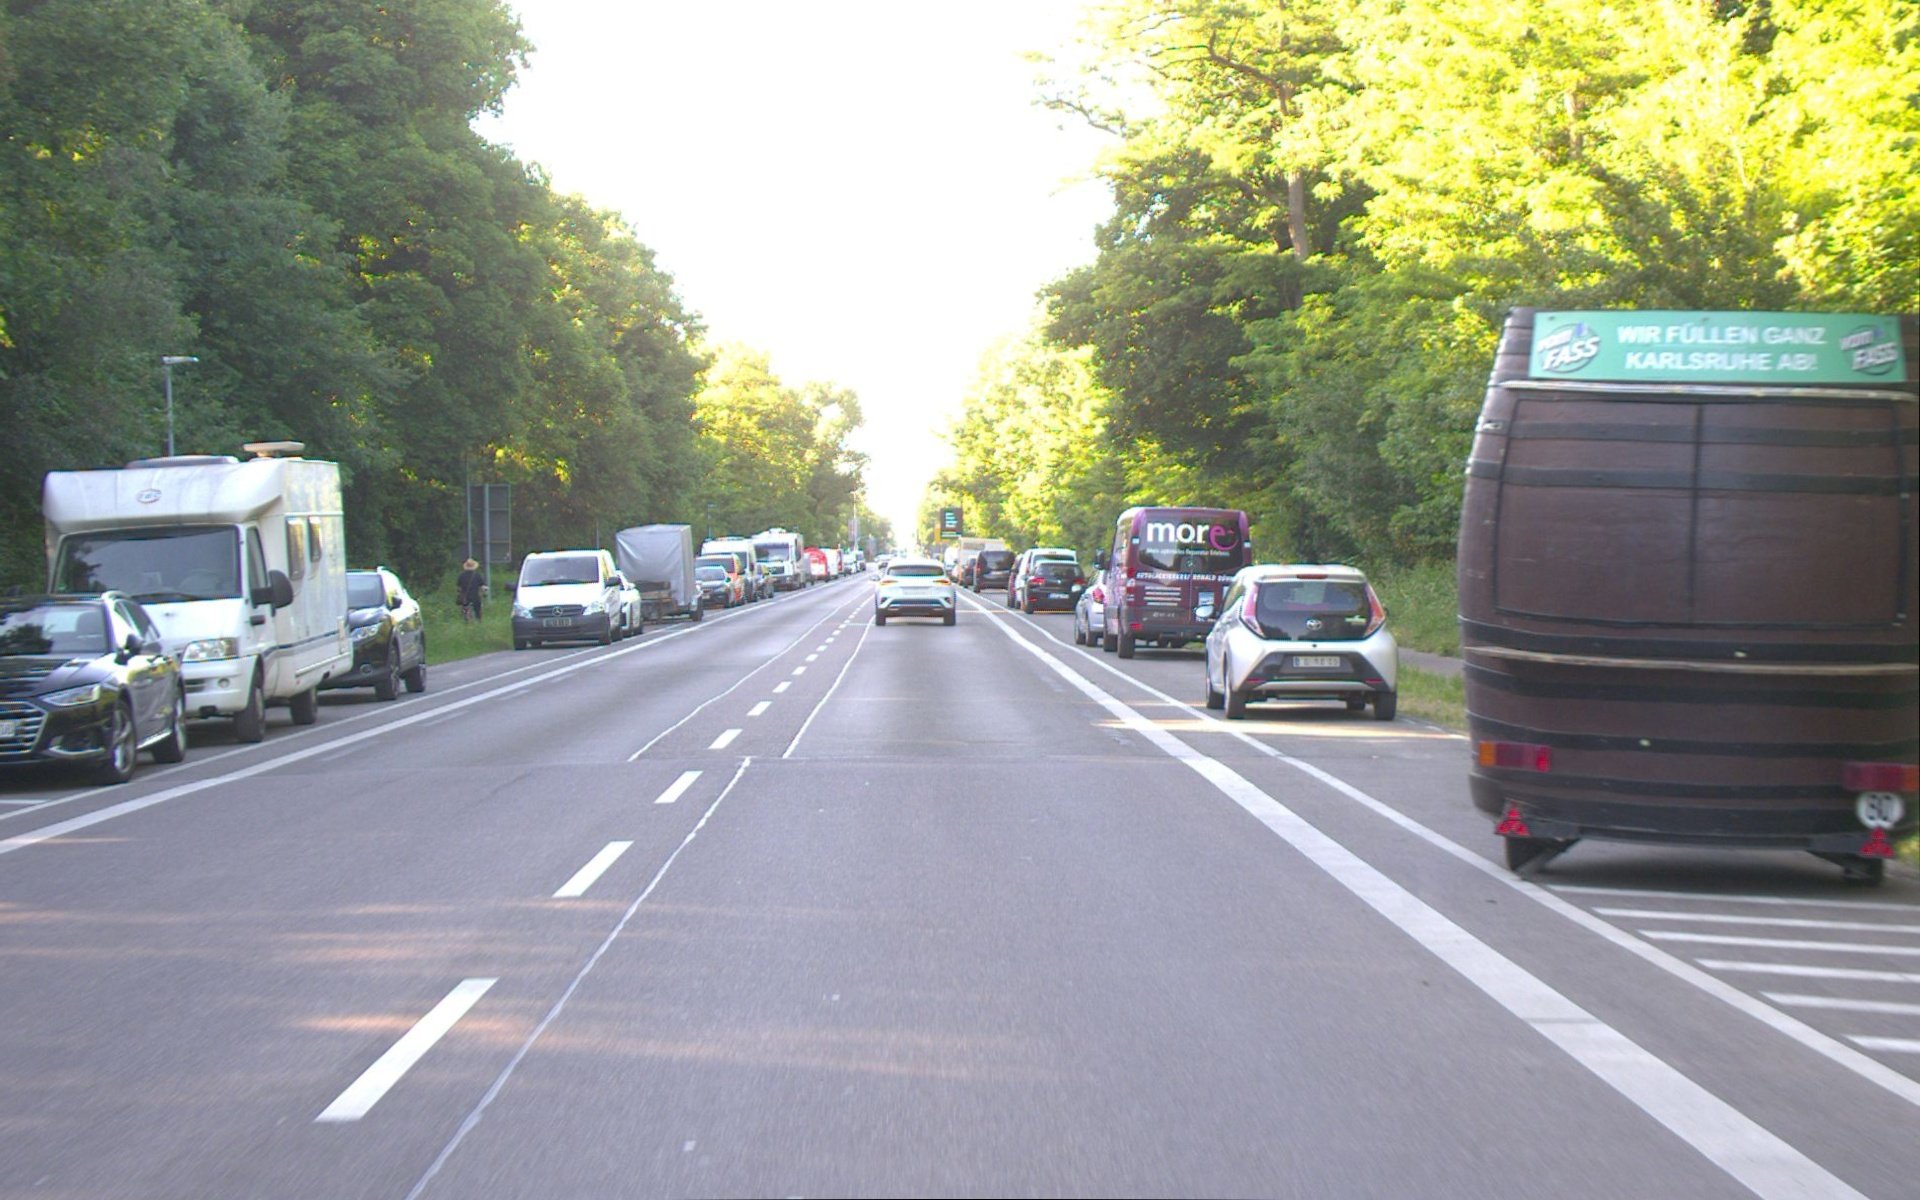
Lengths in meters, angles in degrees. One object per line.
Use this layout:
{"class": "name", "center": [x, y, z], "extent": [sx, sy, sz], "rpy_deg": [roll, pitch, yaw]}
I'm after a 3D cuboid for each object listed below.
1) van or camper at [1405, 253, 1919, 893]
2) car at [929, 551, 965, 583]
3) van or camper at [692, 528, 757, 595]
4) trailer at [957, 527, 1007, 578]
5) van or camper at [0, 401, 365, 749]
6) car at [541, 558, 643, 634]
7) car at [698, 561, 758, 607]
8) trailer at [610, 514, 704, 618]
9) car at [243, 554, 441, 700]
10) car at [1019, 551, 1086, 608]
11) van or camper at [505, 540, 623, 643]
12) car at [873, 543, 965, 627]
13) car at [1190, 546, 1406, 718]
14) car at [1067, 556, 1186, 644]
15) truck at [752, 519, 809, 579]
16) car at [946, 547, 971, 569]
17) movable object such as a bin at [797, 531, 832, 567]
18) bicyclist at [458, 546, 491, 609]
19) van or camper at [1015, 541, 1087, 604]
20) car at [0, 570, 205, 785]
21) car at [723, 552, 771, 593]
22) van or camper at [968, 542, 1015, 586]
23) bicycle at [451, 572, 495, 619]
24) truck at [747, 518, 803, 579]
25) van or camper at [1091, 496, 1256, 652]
{"class": "van or camper", "center": [3.934, -0.209, 18.405], "extent": [2.442, 2.790, 6.553], "rpy_deg": [1, 2, 13]}
{"class": "car", "center": [-0.686, -1.701, 177.650], "extent": [1.841, 1.656, 4.000], "rpy_deg": [0, 1, 0]}
{"class": "van or camper", "center": [-9.340, -1.533, 136.779], "extent": [2.121, 2.563, 6.542], "rpy_deg": [-1, 1, 0]}
{"class": "trailer", "center": [1.260, -2.746, 199.806], "extent": [2.757, 2.860, 6.589], "rpy_deg": [-1, 1, -1]}
{"class": "van or camper", "center": [-7.539, -0.275, 33.934], "extent": [2.314, 2.960, 7.112], "rpy_deg": [-3, 1, -3]}
{"class": "car", "center": [-7.989, -0.113, 74.939], "extent": [1.774, 1.535, 4.525], "rpy_deg": [-2, 1, -1]}
{"class": "car", "center": [-7.929, -0.560, 117.696], "extent": [1.731, 1.473, 4.324], "rpy_deg": [-2, 1, 0]}
{"class": "trailer", "center": [-7.984, -0.912, 90.926], "extent": [1.993, 2.588, 4.416], "rpy_deg": [-3, 1, -1]}
{"class": "car", "center": [-7.553, 0.283, 42.367], "extent": [1.646, 1.626, 4.274], "rpy_deg": [-3, 1, -1]}
{"class": "car", "center": [2.535, -0.575, 94.867], "extent": [1.690, 1.519, 4.149], "rpy_deg": [1, 1, -1]}
{"class": "van or camper", "center": [-7.822, -0.205, 68.274], "extent": [1.835, 1.905, 4.856], "rpy_deg": [-2, 1, -1]}
{"class": "car", "center": [-0.921, -0.364, 78.578], "extent": [2.028, 1.834, 4.029], "rpy_deg": [-1, 1, 0]}
{"class": "car", "center": [3.260, 0.263, 33.801], "extent": [1.712, 1.540, 4.022], "rpy_deg": [1, 1, 0]}
{"class": "car", "center": [2.953, -0.029, 61.556], "extent": [1.747, 1.510, 4.001], "rpy_deg": [0, 1, -3]}
{"class": "truck", "center": [-9.550, -2.723, 183.771], "extent": [2.707, 3.083, 7.989], "rpy_deg": [0, 1, -1]}
{"class": "car", "center": [-0.117, -2.877, 235.389], "extent": [1.656, 1.473, 3.754], "rpy_deg": [-1, 1, -1]}
{"class": "movable object such as a bin", "center": [-10.294, -3.568, 242.980], "extent": [2.322, 2.493, 4.000], "rpy_deg": [-1, 1, -1]}
{"class": "bicyclist", "center": [-10.721, -0.496, 75.911], "extent": [0.604, 1.369, 0.799], "rpy_deg": [0, 1, -1]}
{"class": "van or camper", "center": [2.658, -0.822, 101.533], "extent": [1.951, 1.809, 4.381], "rpy_deg": [0, 1, -1]}
{"class": "car", "center": [-7.171, 0.552, 26.691], "extent": [1.827, 1.471, 4.682], "rpy_deg": [-2, 1, -4]}
{"class": "car", "center": [-9.130, -1.199, 147.741], "extent": [1.781, 1.678, 4.378], "rpy_deg": [-2, 1, 0]}
{"class": "van or camper", "center": [1.414, -1.647, 154.690], "extent": [1.993, 1.925, 5.199], "rpy_deg": [1, 1, -1]}
{"class": "bicycle", "center": [-10.729, -0.104, 75.807], "extent": [0.651, 1.005, 2.396], "rpy_deg": [0, 1, -1]}
{"class": "truck", "center": [-10.469, -2.904, 195.300], "extent": [2.707, 3.336, 10.924], "rpy_deg": [0, 1, -1]}
{"class": "van or camper", "center": [3.331, -0.451, 54.818], "extent": [2.035, 2.304, 6.041], "rpy_deg": [-1, 1, -2]}
